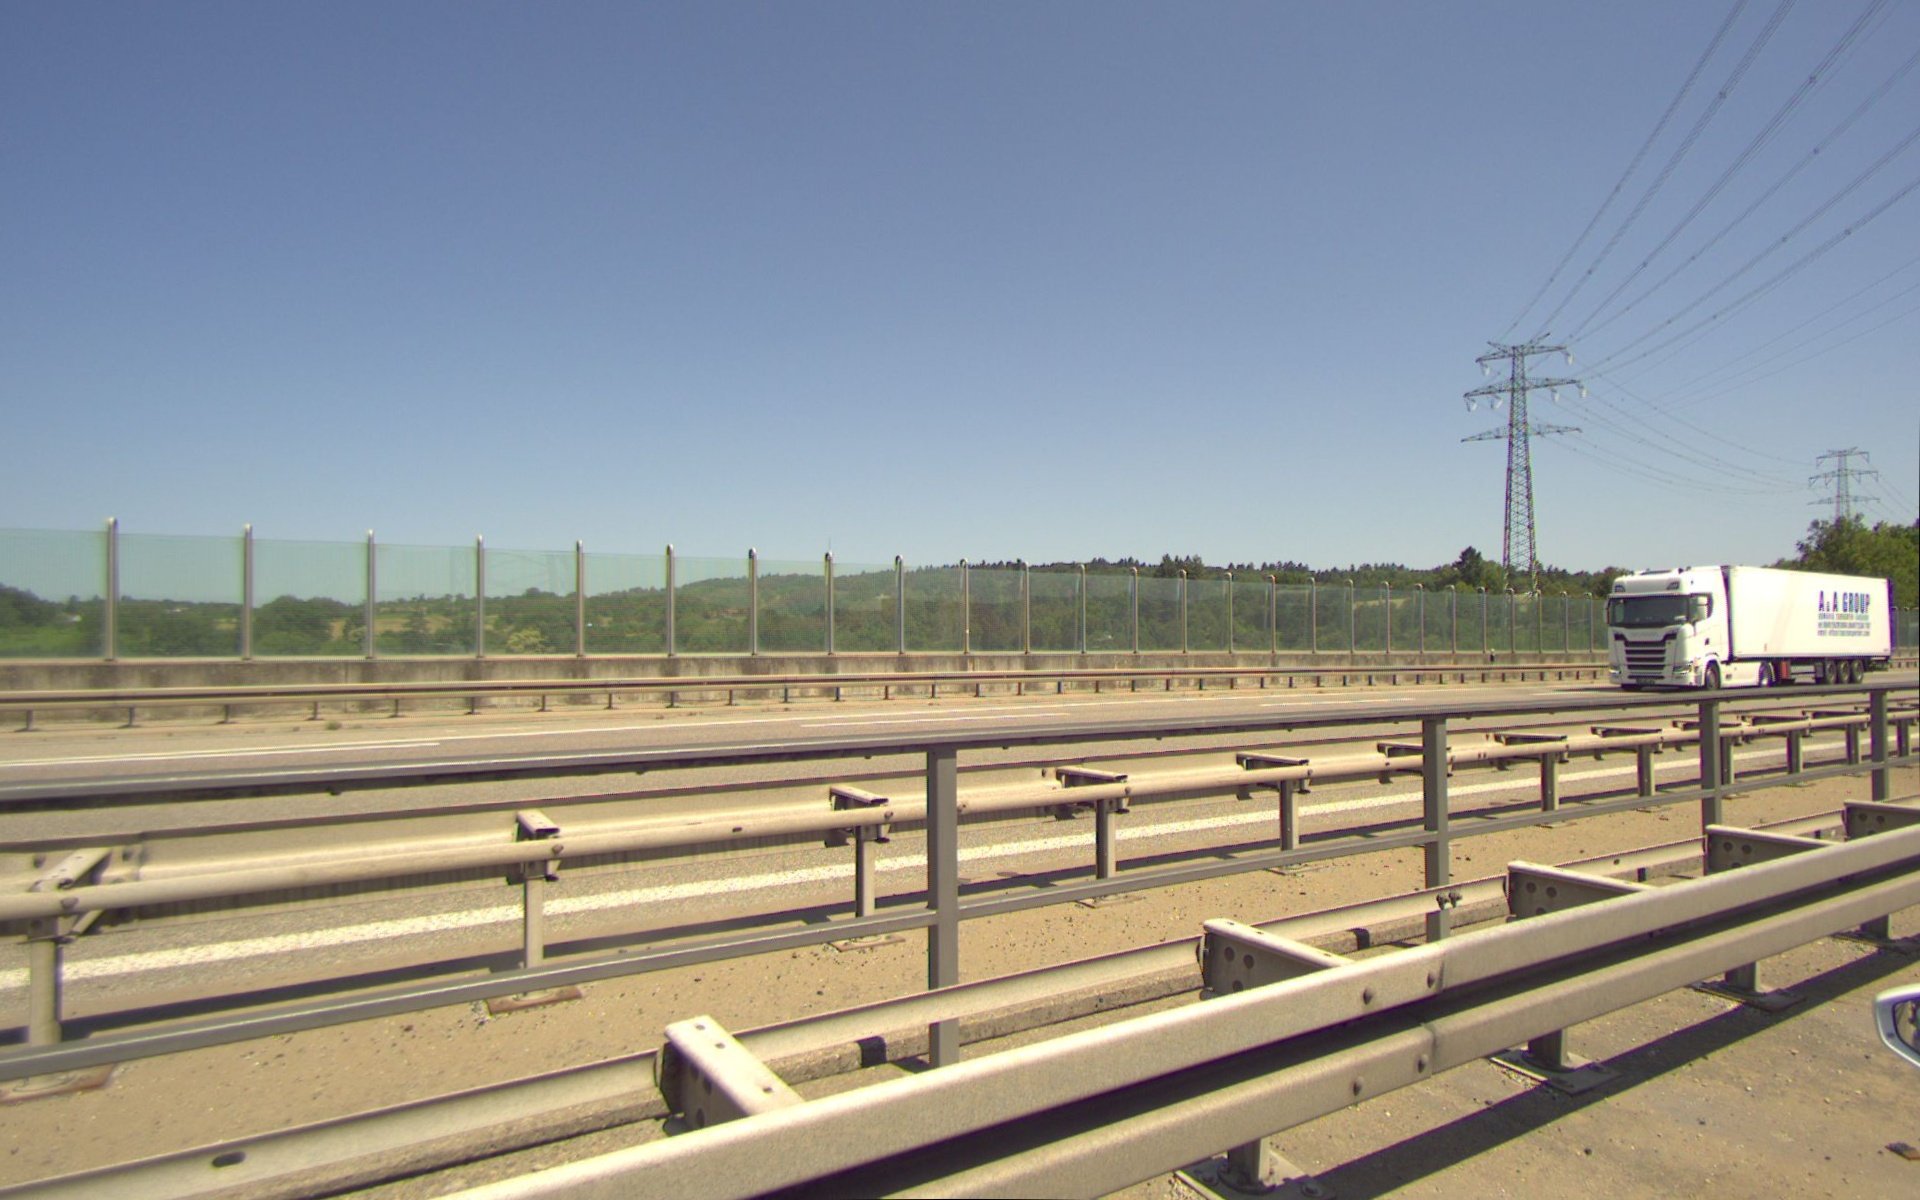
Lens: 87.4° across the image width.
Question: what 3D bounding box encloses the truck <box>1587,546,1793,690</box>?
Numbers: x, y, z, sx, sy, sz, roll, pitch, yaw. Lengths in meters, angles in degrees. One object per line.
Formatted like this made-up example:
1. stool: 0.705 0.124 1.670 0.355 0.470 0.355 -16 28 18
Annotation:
1. truck: 24.226 0.715 33.301 6.776 4.349 2.916 2 -4 -30

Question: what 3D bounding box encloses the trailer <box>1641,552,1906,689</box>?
1. trailer: 30.008 0.922 36.727 13.500 4.363 2.893 2 -3 -30
